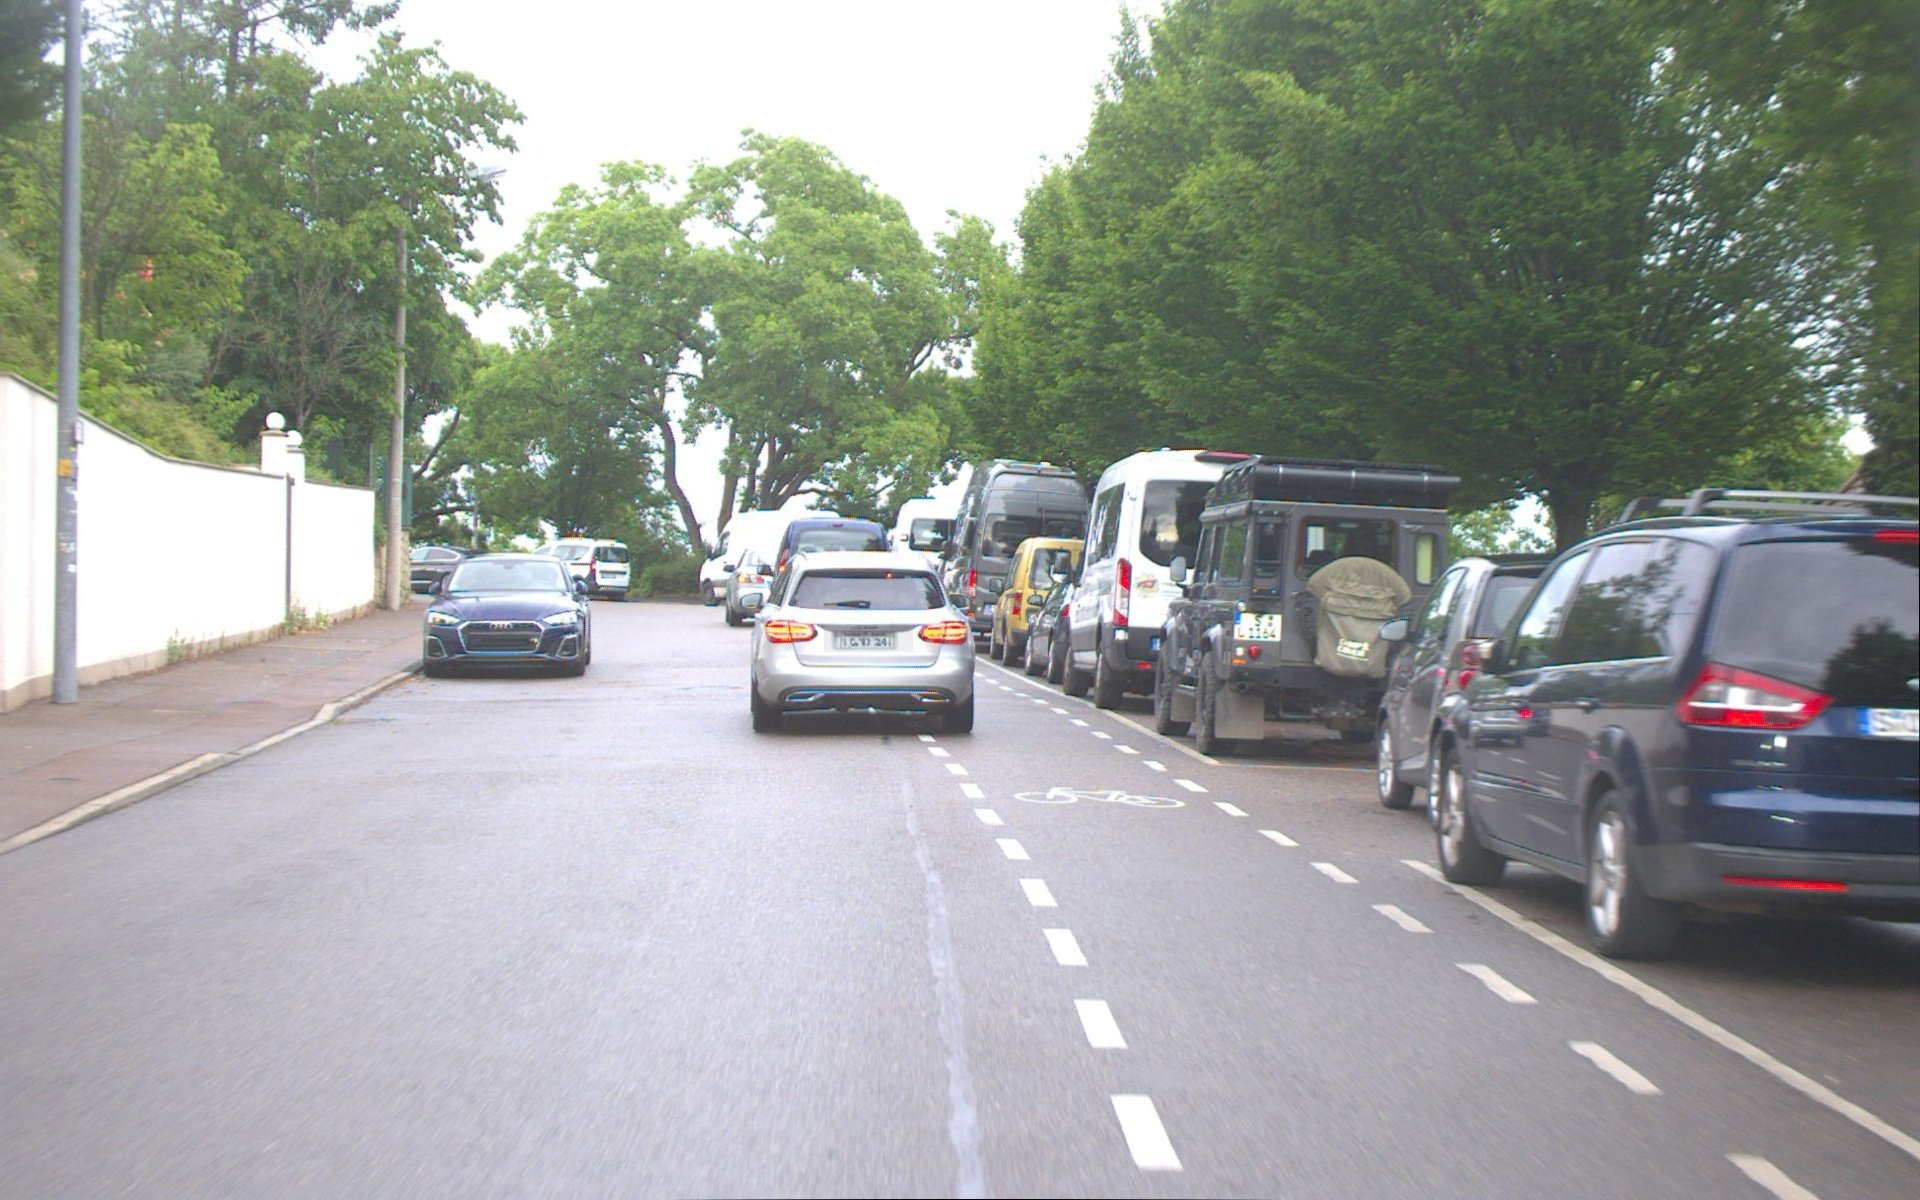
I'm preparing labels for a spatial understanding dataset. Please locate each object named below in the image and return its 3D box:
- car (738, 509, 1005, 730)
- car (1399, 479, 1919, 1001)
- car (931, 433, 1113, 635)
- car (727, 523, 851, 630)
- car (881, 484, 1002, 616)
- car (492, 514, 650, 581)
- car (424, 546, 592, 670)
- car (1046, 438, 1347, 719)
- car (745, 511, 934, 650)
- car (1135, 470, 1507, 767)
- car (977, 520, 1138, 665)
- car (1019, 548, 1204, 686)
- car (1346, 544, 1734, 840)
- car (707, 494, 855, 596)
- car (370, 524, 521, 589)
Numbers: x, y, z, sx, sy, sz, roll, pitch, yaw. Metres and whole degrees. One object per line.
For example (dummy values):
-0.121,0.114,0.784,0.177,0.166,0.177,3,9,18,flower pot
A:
-0.822,0.111,28.876,2.025,1.702,4.216,1,1,-4,car
3.187,0.455,14.257,1.780,1.777,4.680,2,1,-4,car
0.900,-1.038,54.092,2.124,2.877,5.770,4,1,-5,car
-2.937,-0.398,59.823,1.993,1.702,4.000,3,0,-2,car
-0.417,-1.030,69.967,2.064,2.486,4.760,4,1,-4,car
-11.610,-1.570,102.462,4.492,1.692,1.966,4,1,37,car
-5.281,0.052,40.588,1.748,1.353,4.426,0,1,-5,car
2.286,-0.254,35.105,2.173,2.484,6.034,4,1,-3,car
-1.680,-0.256,46.483,1.993,1.702,4.001,3,0,-9,car
2.722,0.101,27.225,1.993,2.045,5.122,3,1,-4,car
1.313,-0.136,47.916,1.727,1.779,4.276,5,1,-3,car
1.815,0.169,42.323,1.671,1.453,4.224,5,1,-4,car
3.311,0.478,20.113,1.596,1.553,2.955,2,1,-3,car
-4.878,-1.504,92.976,2.125,2.518,4.497,3,1,-28,car
-15.882,-1.338,106.055,4.666,1.692,1.966,4,1,41,car
